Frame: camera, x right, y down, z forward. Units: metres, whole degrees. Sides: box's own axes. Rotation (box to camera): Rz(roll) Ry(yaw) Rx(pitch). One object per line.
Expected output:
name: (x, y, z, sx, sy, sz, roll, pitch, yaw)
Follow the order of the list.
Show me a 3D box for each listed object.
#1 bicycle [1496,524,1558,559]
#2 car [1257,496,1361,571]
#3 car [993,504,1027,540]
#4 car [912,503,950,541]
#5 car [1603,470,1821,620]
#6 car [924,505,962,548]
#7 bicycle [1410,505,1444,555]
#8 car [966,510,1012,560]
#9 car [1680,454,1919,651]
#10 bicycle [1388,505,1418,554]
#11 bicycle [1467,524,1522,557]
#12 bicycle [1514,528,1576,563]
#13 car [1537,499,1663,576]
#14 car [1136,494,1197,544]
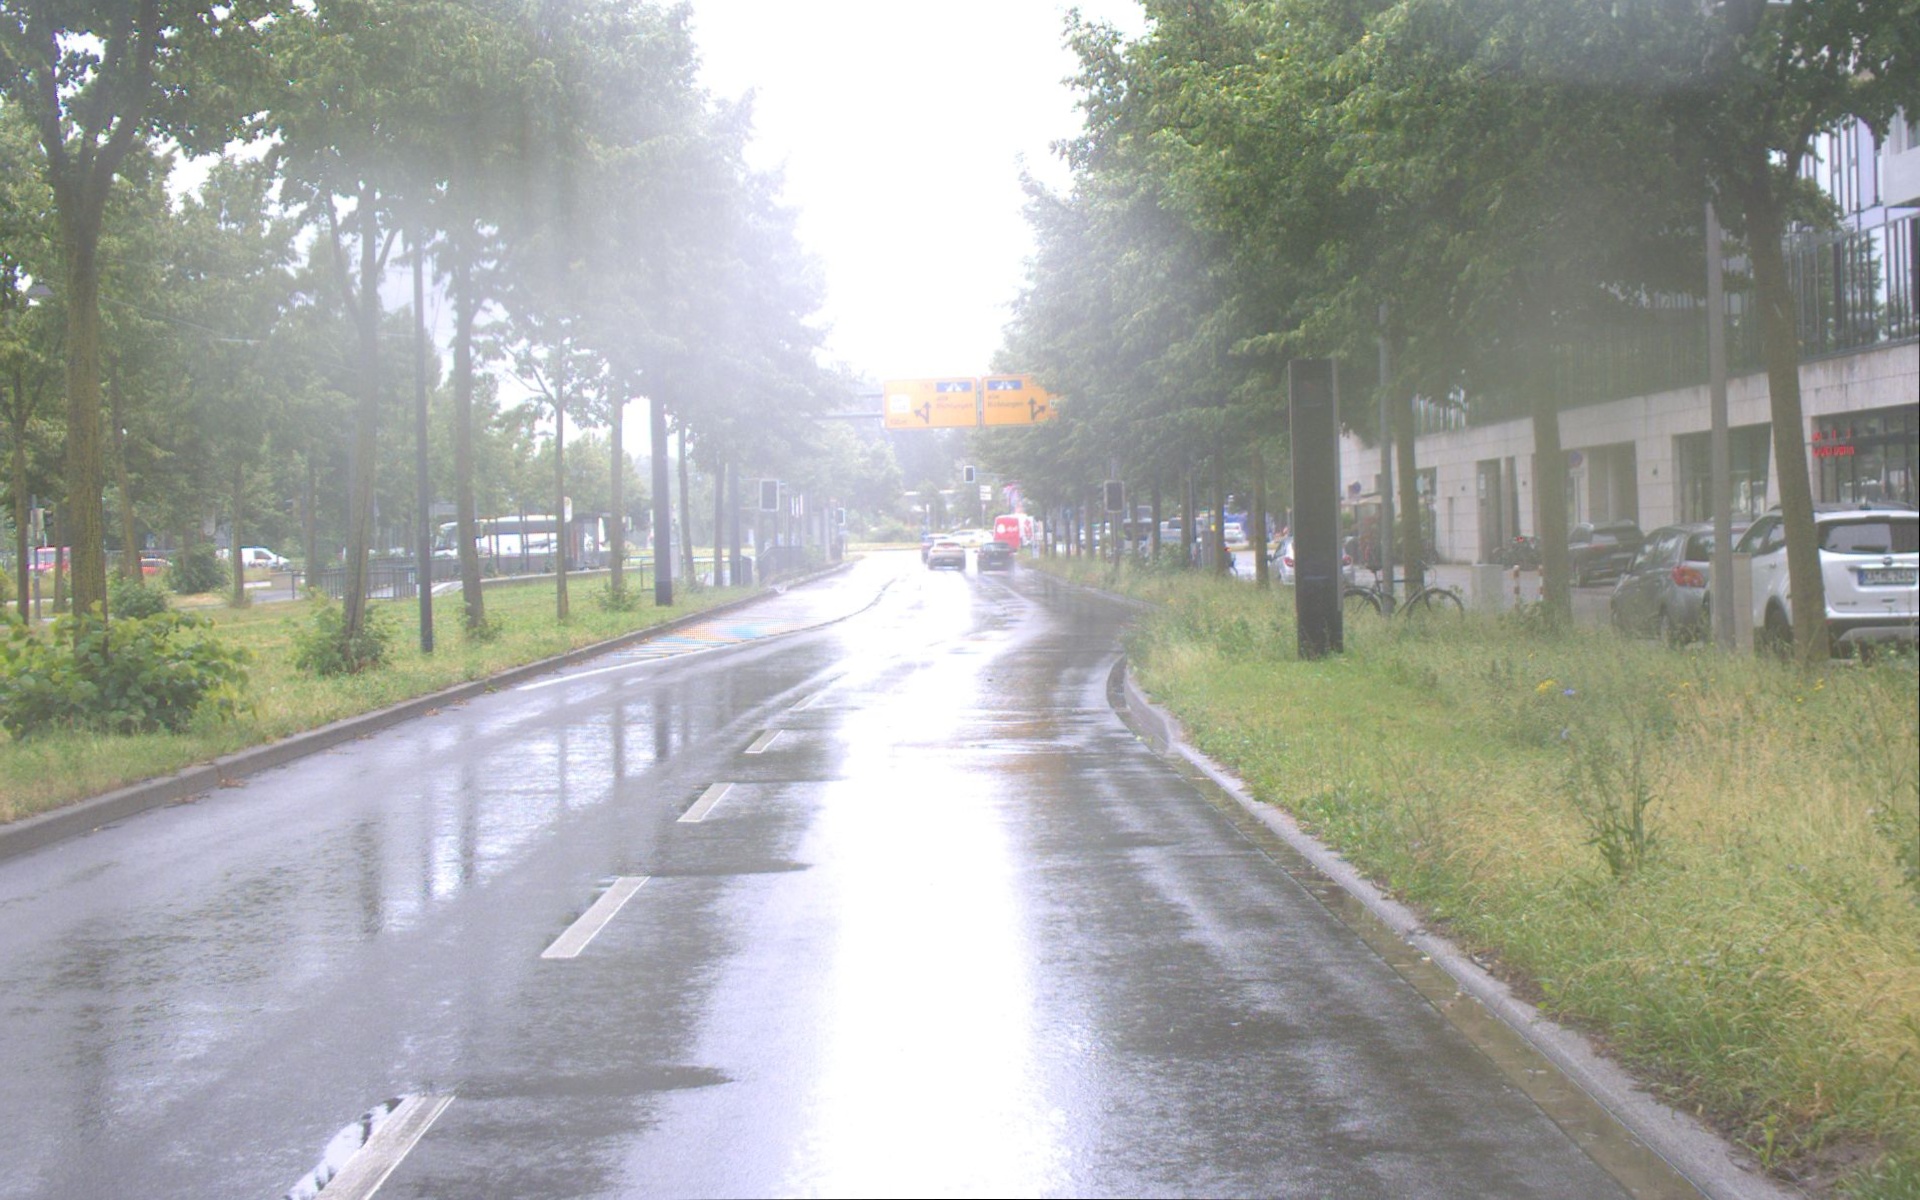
bicycle: (17.445, -1.796, 105.823, 1.807, 1.025, 0.541, -1, 1, 2)
car: (8.018, -1.561, 79.369, 1.881, 1.500, 4.725, -1, 3, 0)
car: (3.087, -4.832, 212.122, 1.993, 2.006, 4.001, -1, 3, 1)
car: (-1.696, -4.521, 199.729, 1.993, 2.006, 4.001, -1, 3, 2)
car: (8.367, -0.657, 38.497, 1.625, 1.485, 3.656, -1, 3, 0)
car: (-0.860, -3.822, 178.122, 1.888, 2.006, 4.001, -1, 3, 0)
bicycle: (17.417, -2.631, 128.367, 0.772, 1.716, 3.121, -1, 3, -1)
car: (1.285, -2.911, 152.719, 1.940, 2.006, 4.001, -1, 3, 0)
car: (8.535, -0.531, 33.569, 1.993, 1.663, 4.725, -1, 3, 0)
bicycle: (16.623, -2.657, 129.089, 0.644, 1.716, 3.121, -1, 3, -1)
bicycle: (17.220, -1.921, 110.693, 1.694, 1.025, 0.423, -1, 1, 2)
bicycle: (17.696, -1.647, 103.986, 1.807, 1.025, 0.401, -1, 1, 2)
car: (14.919, -1.485, 80.357, 1.994, 1.496, 5.034, -6, 2, 2)
car: (7.692, -3.011, 128.457, 1.906, 1.785, 4.688, -1, 1, 0)
